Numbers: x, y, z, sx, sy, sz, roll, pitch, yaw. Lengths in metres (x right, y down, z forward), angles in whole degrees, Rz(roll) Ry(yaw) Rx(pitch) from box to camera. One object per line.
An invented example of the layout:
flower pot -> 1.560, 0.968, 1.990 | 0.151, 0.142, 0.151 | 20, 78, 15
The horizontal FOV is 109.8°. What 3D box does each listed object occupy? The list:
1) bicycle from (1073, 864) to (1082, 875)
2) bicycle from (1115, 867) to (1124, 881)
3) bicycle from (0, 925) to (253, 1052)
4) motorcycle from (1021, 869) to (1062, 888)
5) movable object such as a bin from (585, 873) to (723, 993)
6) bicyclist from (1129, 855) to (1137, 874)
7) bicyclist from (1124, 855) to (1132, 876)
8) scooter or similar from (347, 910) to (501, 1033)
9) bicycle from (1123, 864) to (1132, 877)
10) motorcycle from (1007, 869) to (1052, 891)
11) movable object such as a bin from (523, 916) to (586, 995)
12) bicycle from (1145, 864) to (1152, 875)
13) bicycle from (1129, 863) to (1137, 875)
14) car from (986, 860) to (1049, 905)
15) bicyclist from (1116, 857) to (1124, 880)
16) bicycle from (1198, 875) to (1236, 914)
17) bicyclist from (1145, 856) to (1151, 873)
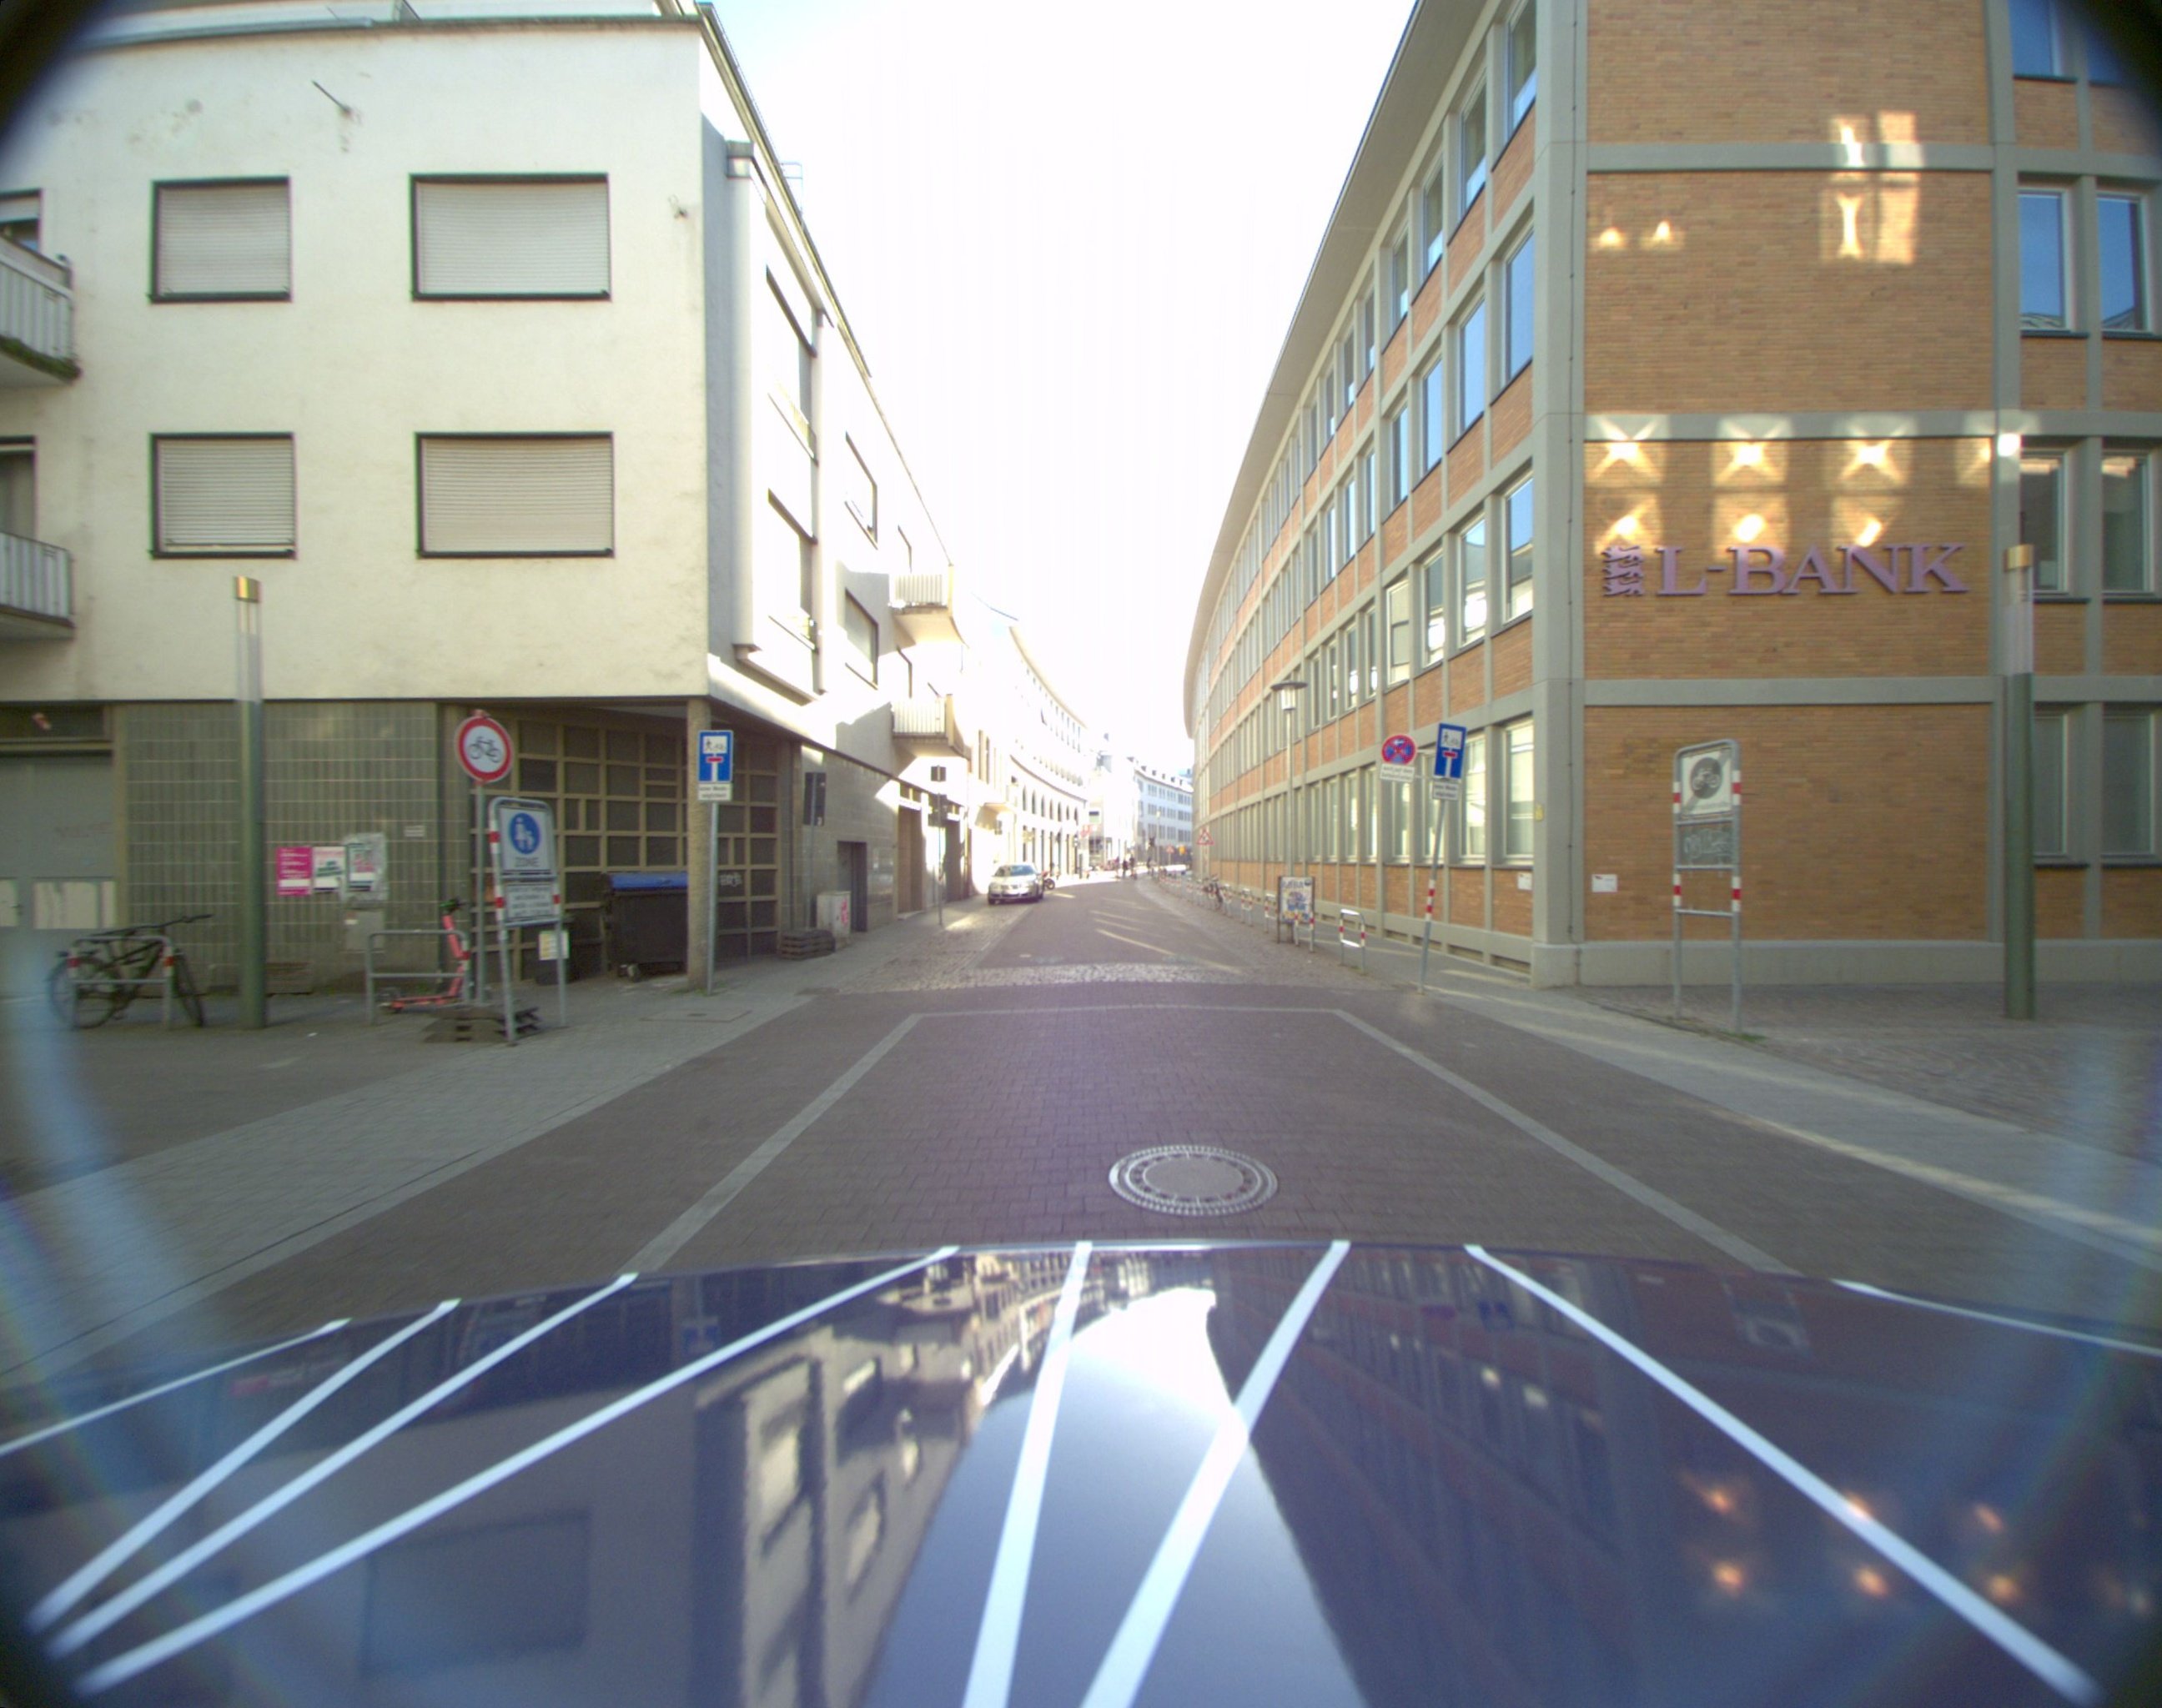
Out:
bicycle -> -0.331, 1.330, 66.649 | 0.576, 0.955, 1.721 | 0, 0, 7
bicycle -> 2.478, 1.265, 48.882 | 0.524, 0.843, 1.491 | 0, 0, 6
bicycle -> -9.494, 1.315, 7.536 | 1.891, 1.120, 0.682 | -1, 0, 4
motorcycle -> -2.053, 1.268, 39.085 | 1.995, 0.950, 0.646 | 0, 1, 14
movable object such as a bin -> -5.873, 1.020, 10.457 | 1.438, 1.454, 1.126 | -1, 0, -41
bicyclist -> 4.328, 0.858, 63.062 | 0.576, 1.524, 0.816 | 0, 1, 7
bicyclist -> 3.597, 0.870, 58.436 | 0.580, 1.565, 0.692 | -1, 0, 6
scooter or similar -> -6.941, 1.228, 8.055 | 1.162, 1.216, 0.498 | -1, 1, -2
bicycle -> 3.569, 1.223, 58.156 | 0.576, 0.955, 1.721 | 0, 0, 7
motorcycle -> -2.378, 1.197, 35.181 | 1.995, 0.950, 0.646 | 0, 1, 14
movable object such as a bin -> -6.891, 1.303, 9.947 | 0.598, 0.921, 0.605 | -1, 1, -41
bicycle -> 6.498, 1.491, 73.496 | 0.622, 0.955, 1.721 | 0, 0, 7
bicycle -> 4.311, 1.244, 63.047 | 0.576, 0.955, 1.721 | 0, 0, 7
car -> -2.259, 0.976, 27.961 | 1.846, 1.453, 3.999 | -2, 0, 1
bicyclist -> 2.495, 0.936, 48.934 | 0.472, 1.495, 0.795 | 0, 1, 4
bicycle -> 4.047, 1.187, 22.696 | 0.628, 1.047, 1.822 | -1, 0, -6
bicyclist -> 6.490, 1.007, 73.483 | 0.580, 1.565, 0.692 | -1, 0, 8
